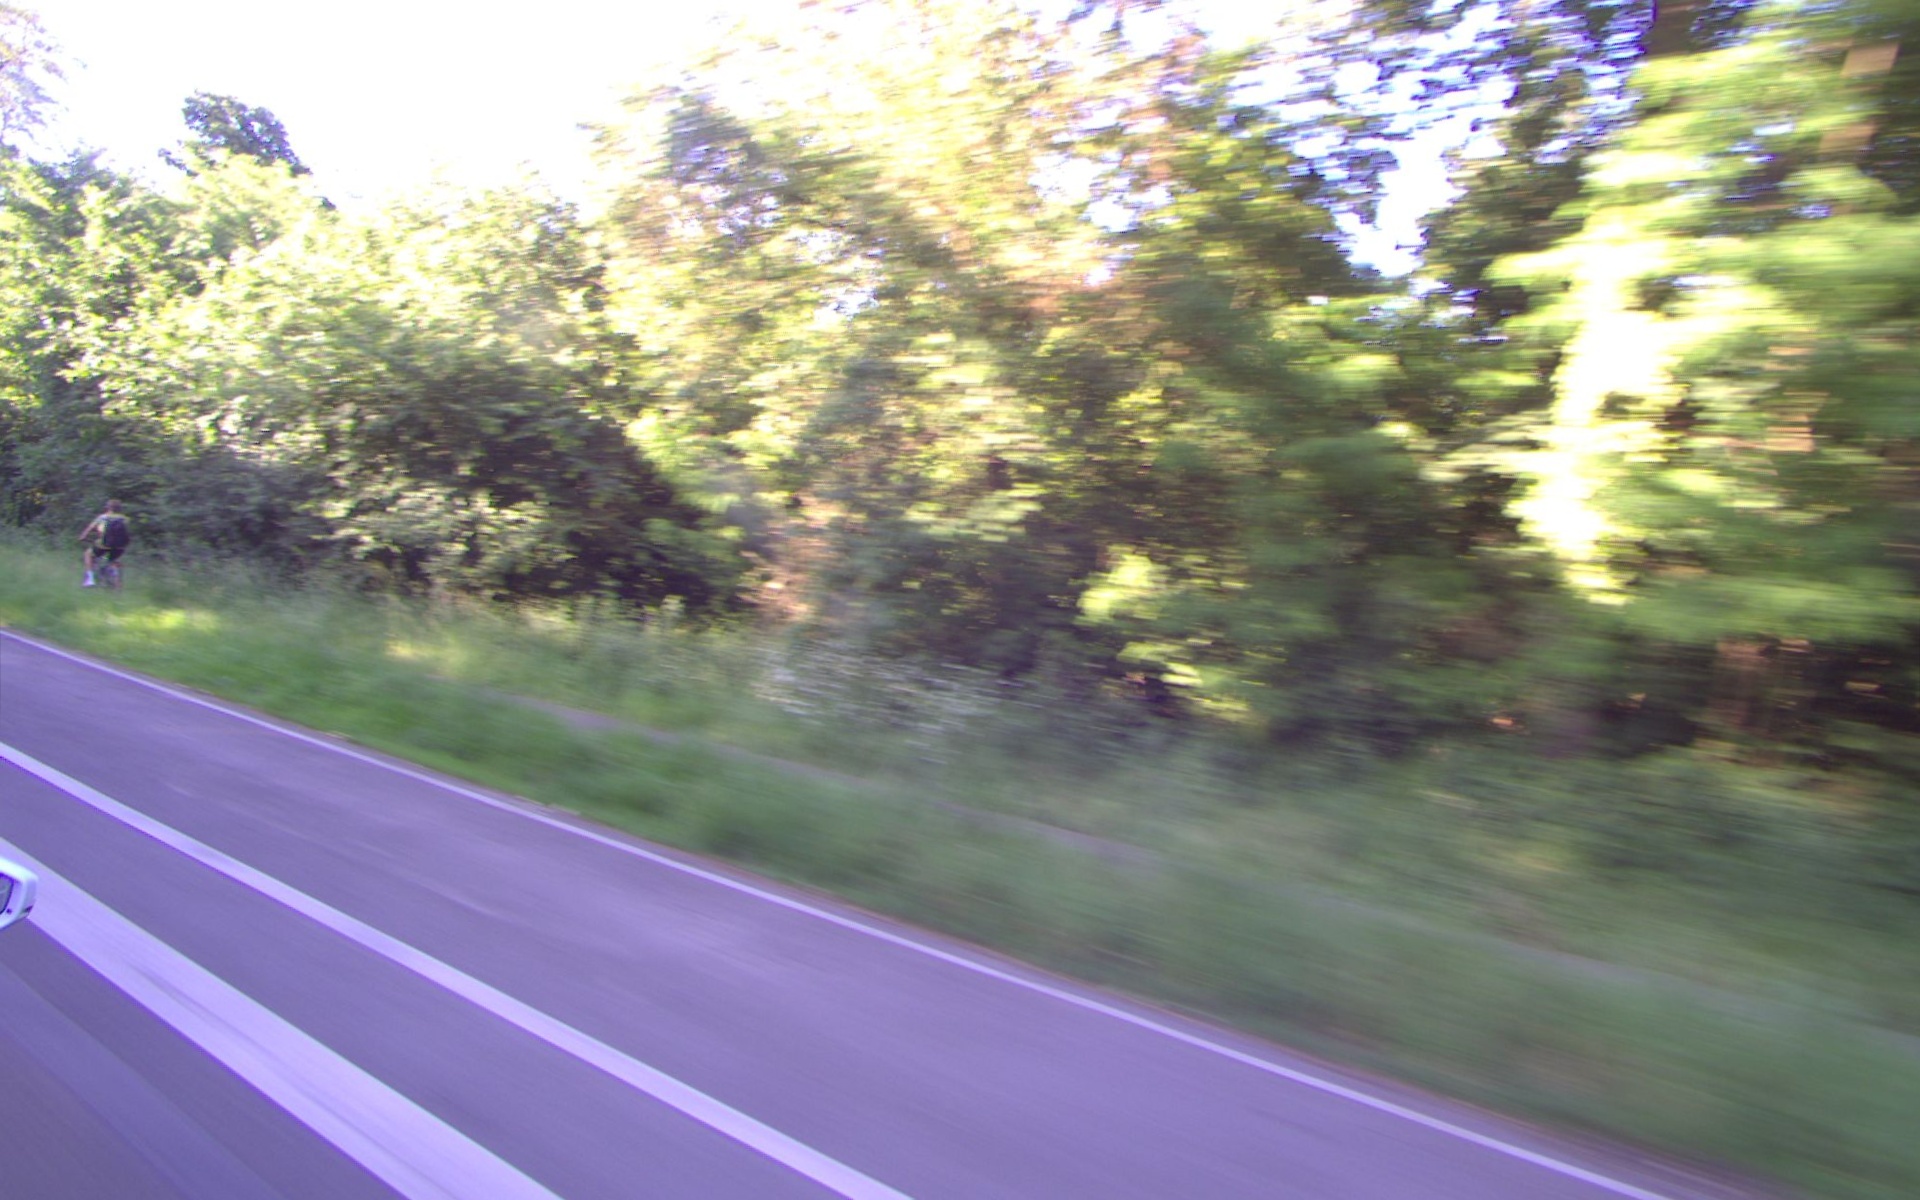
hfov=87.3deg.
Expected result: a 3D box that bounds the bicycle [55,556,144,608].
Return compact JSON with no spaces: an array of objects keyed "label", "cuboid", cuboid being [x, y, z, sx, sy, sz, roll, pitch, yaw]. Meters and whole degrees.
[{"label":"bicycle","cuboid":[-15.319,-0.329,17.898,1.963,0.700,0.592,7,-1,32]}]

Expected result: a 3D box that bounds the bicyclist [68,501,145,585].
[{"label":"bicyclist","cuboid":[-15.149,-1.018,17.856,1.156,1.340,0.611,7,0,32]}]
